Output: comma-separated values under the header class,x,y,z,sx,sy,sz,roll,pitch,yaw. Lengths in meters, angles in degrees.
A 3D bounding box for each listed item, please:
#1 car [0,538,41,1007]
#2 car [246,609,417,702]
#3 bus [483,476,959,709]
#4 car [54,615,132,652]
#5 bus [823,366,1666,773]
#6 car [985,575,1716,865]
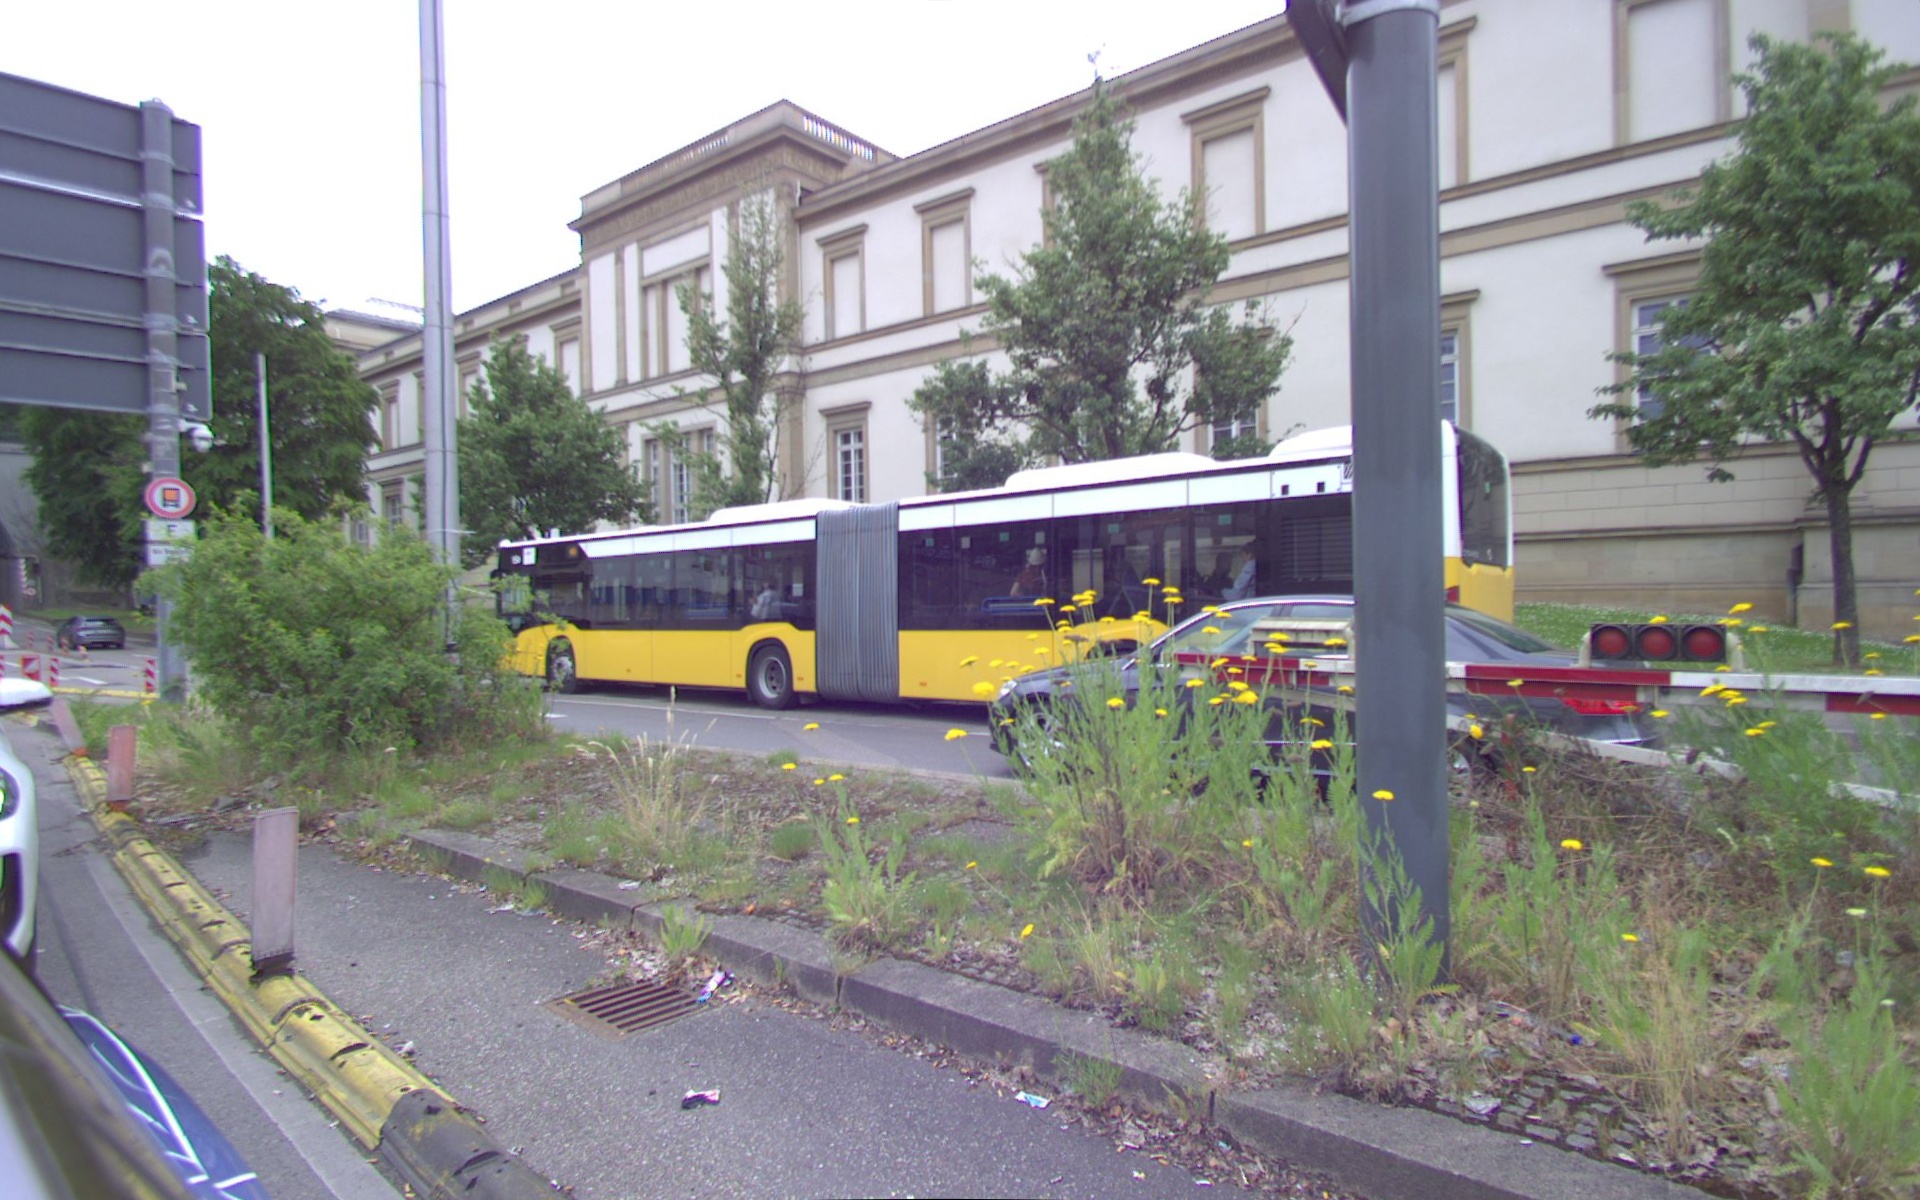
class,x,y,z,sx,sy,sz,roll,pitch,yaw
car,-5.267,0.642,4.163,3.881,1.603,1.824,-1,0,42
car,-12.335,1.023,19.786,3.879,1.601,1.680,-1,0,40
bus,-4.683,-0.034,17.842,9.739,3.137,2.817,-1,0,39
car,-37.225,1.426,43.412,4.282,1.525,1.690,-1,-2,38
bus,2.543,-0.175,11.836,9.115,3.137,2.817,-1,0,40
car,2.526,0.631,7.309,4.625,1.482,1.684,-1,0,40
